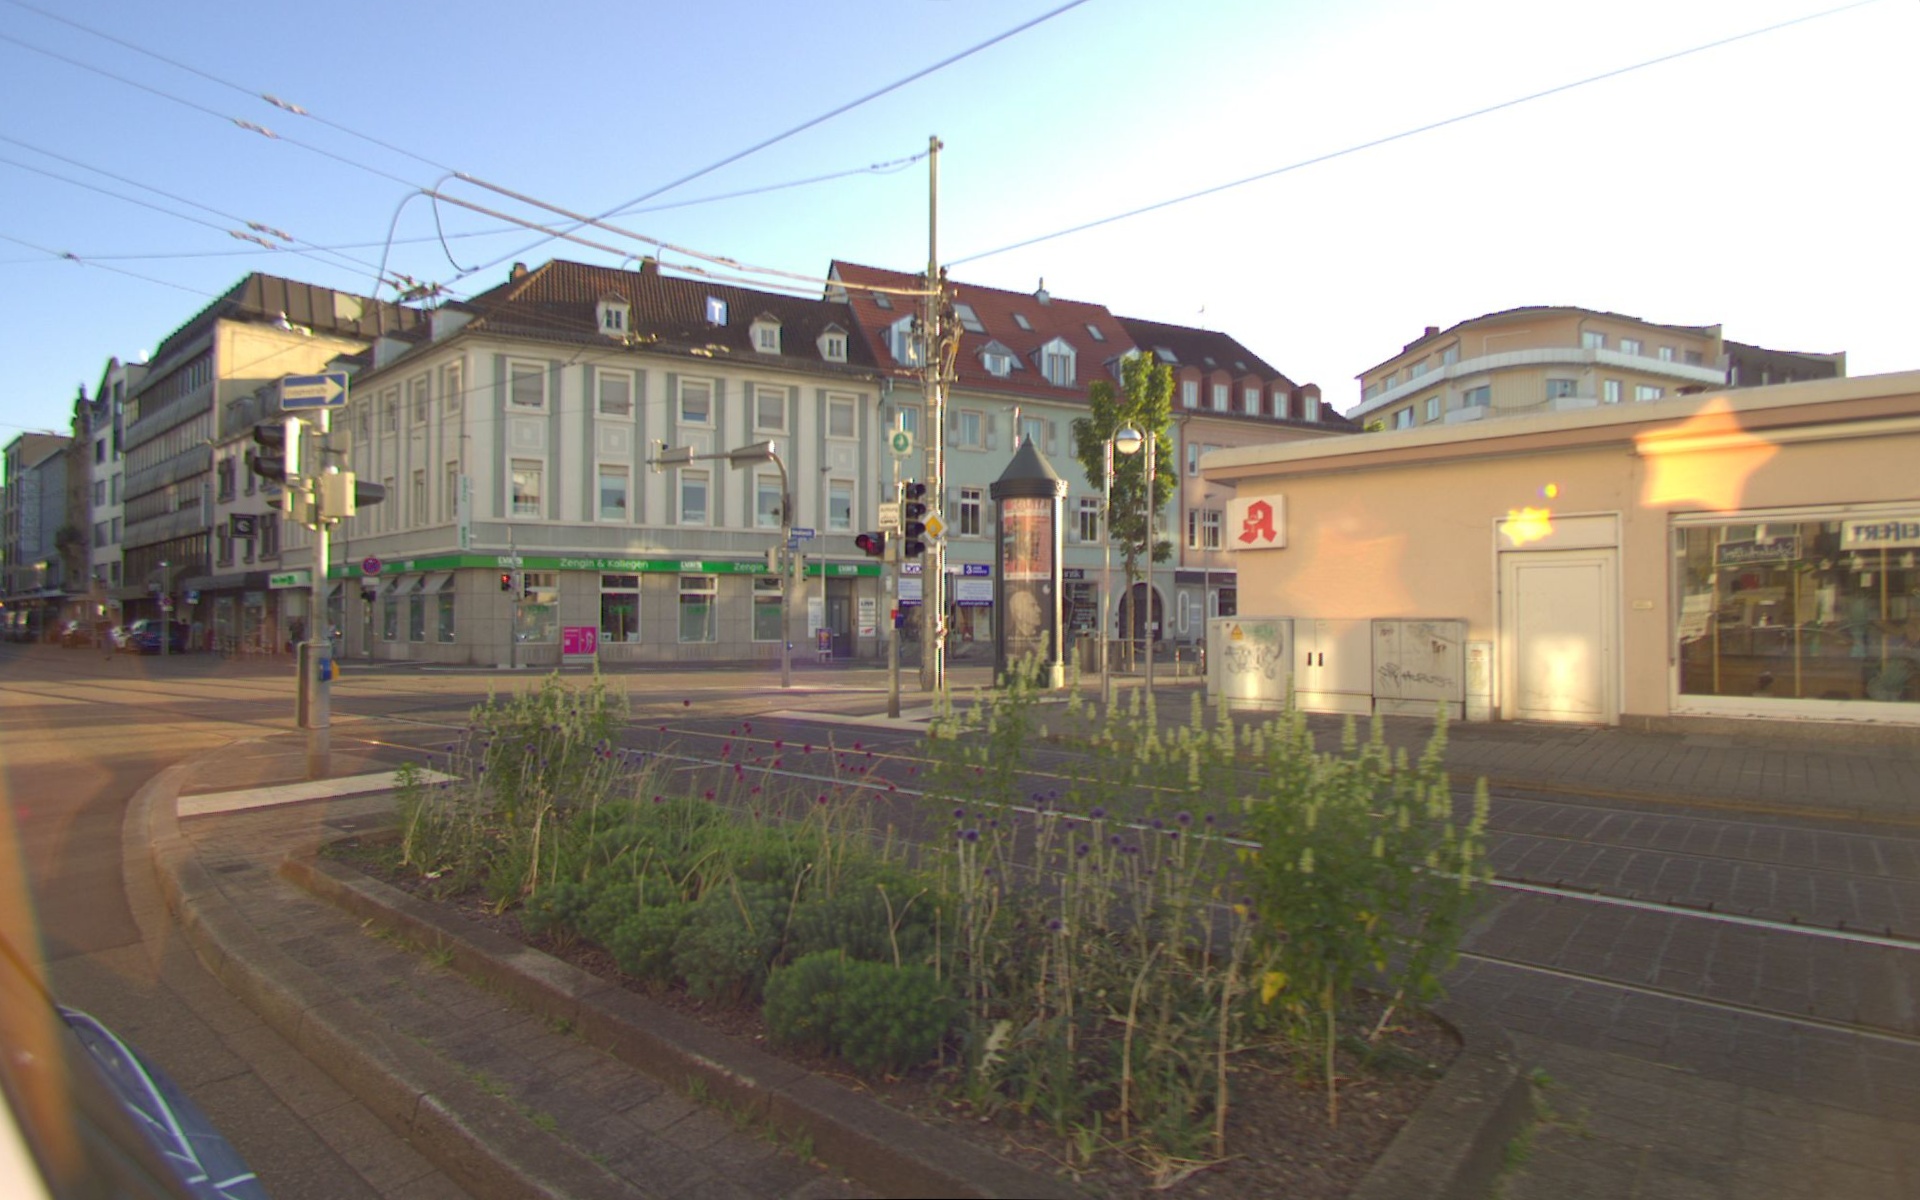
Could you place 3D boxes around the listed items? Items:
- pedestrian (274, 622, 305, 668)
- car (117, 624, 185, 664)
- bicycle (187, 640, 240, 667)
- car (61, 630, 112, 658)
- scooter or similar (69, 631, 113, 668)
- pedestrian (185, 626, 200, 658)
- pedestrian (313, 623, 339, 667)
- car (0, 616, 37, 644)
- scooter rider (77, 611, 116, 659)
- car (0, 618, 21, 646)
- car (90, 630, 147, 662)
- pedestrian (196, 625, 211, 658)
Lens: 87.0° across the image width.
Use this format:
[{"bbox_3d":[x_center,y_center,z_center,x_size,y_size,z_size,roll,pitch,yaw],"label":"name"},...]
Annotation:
[{"bbox_3d":[-26.185,1.740,39.538,0.813,1.741,0.817,-2,-1,40],"label":"pedestrian"},{"bbox_3d":[-40.272,2.153,50.345,4.126,1.809,1.891,-1,0,40],"label":"car"},{"bbox_3d":[-30.867,2.192,41.851,1.715,1.067,0.499,1,-4,-41],"label":"bicycle"},{"bbox_3d":[-53.652,2.683,62.138,3.998,1.569,1.796,1,-1,41],"label":"car"},{"bbox_3d":[-33.080,1.865,38.550,0.537,1.361,1.673,0,-2,-13],"label":"scooter or similar"},{"bbox_3d":[-41.595,2.273,54.828,0.583,1.697,0.503,0,0,40],"label":"pedestrian"},{"bbox_3d":[-24.669,1.746,39.373,0.814,1.653,0.816,0,-2,-33],"label":"pedestrian"},{"bbox_3d":[-71.192,2.241,76.278,3.998,2.029,1.973,1,-1,41],"label":"car"},{"bbox_3d":[-33.113,1.336,38.826,0.800,1.821,0.790,1,-2,-13],"label":"scooter rider"},{"bbox_3d":[-76.384,2.514,80.567,3.999,2.074,1.972,1,-1,42],"label":"car"},{"bbox_3d":[-45.046,2.451,54.130,3.997,1.636,1.679,-2,-2,40],"label":"car"},{"bbox_3d":[-41.347,2.253,55.326,0.600,1.747,0.509,1,-1,41],"label":"pedestrian"}]
